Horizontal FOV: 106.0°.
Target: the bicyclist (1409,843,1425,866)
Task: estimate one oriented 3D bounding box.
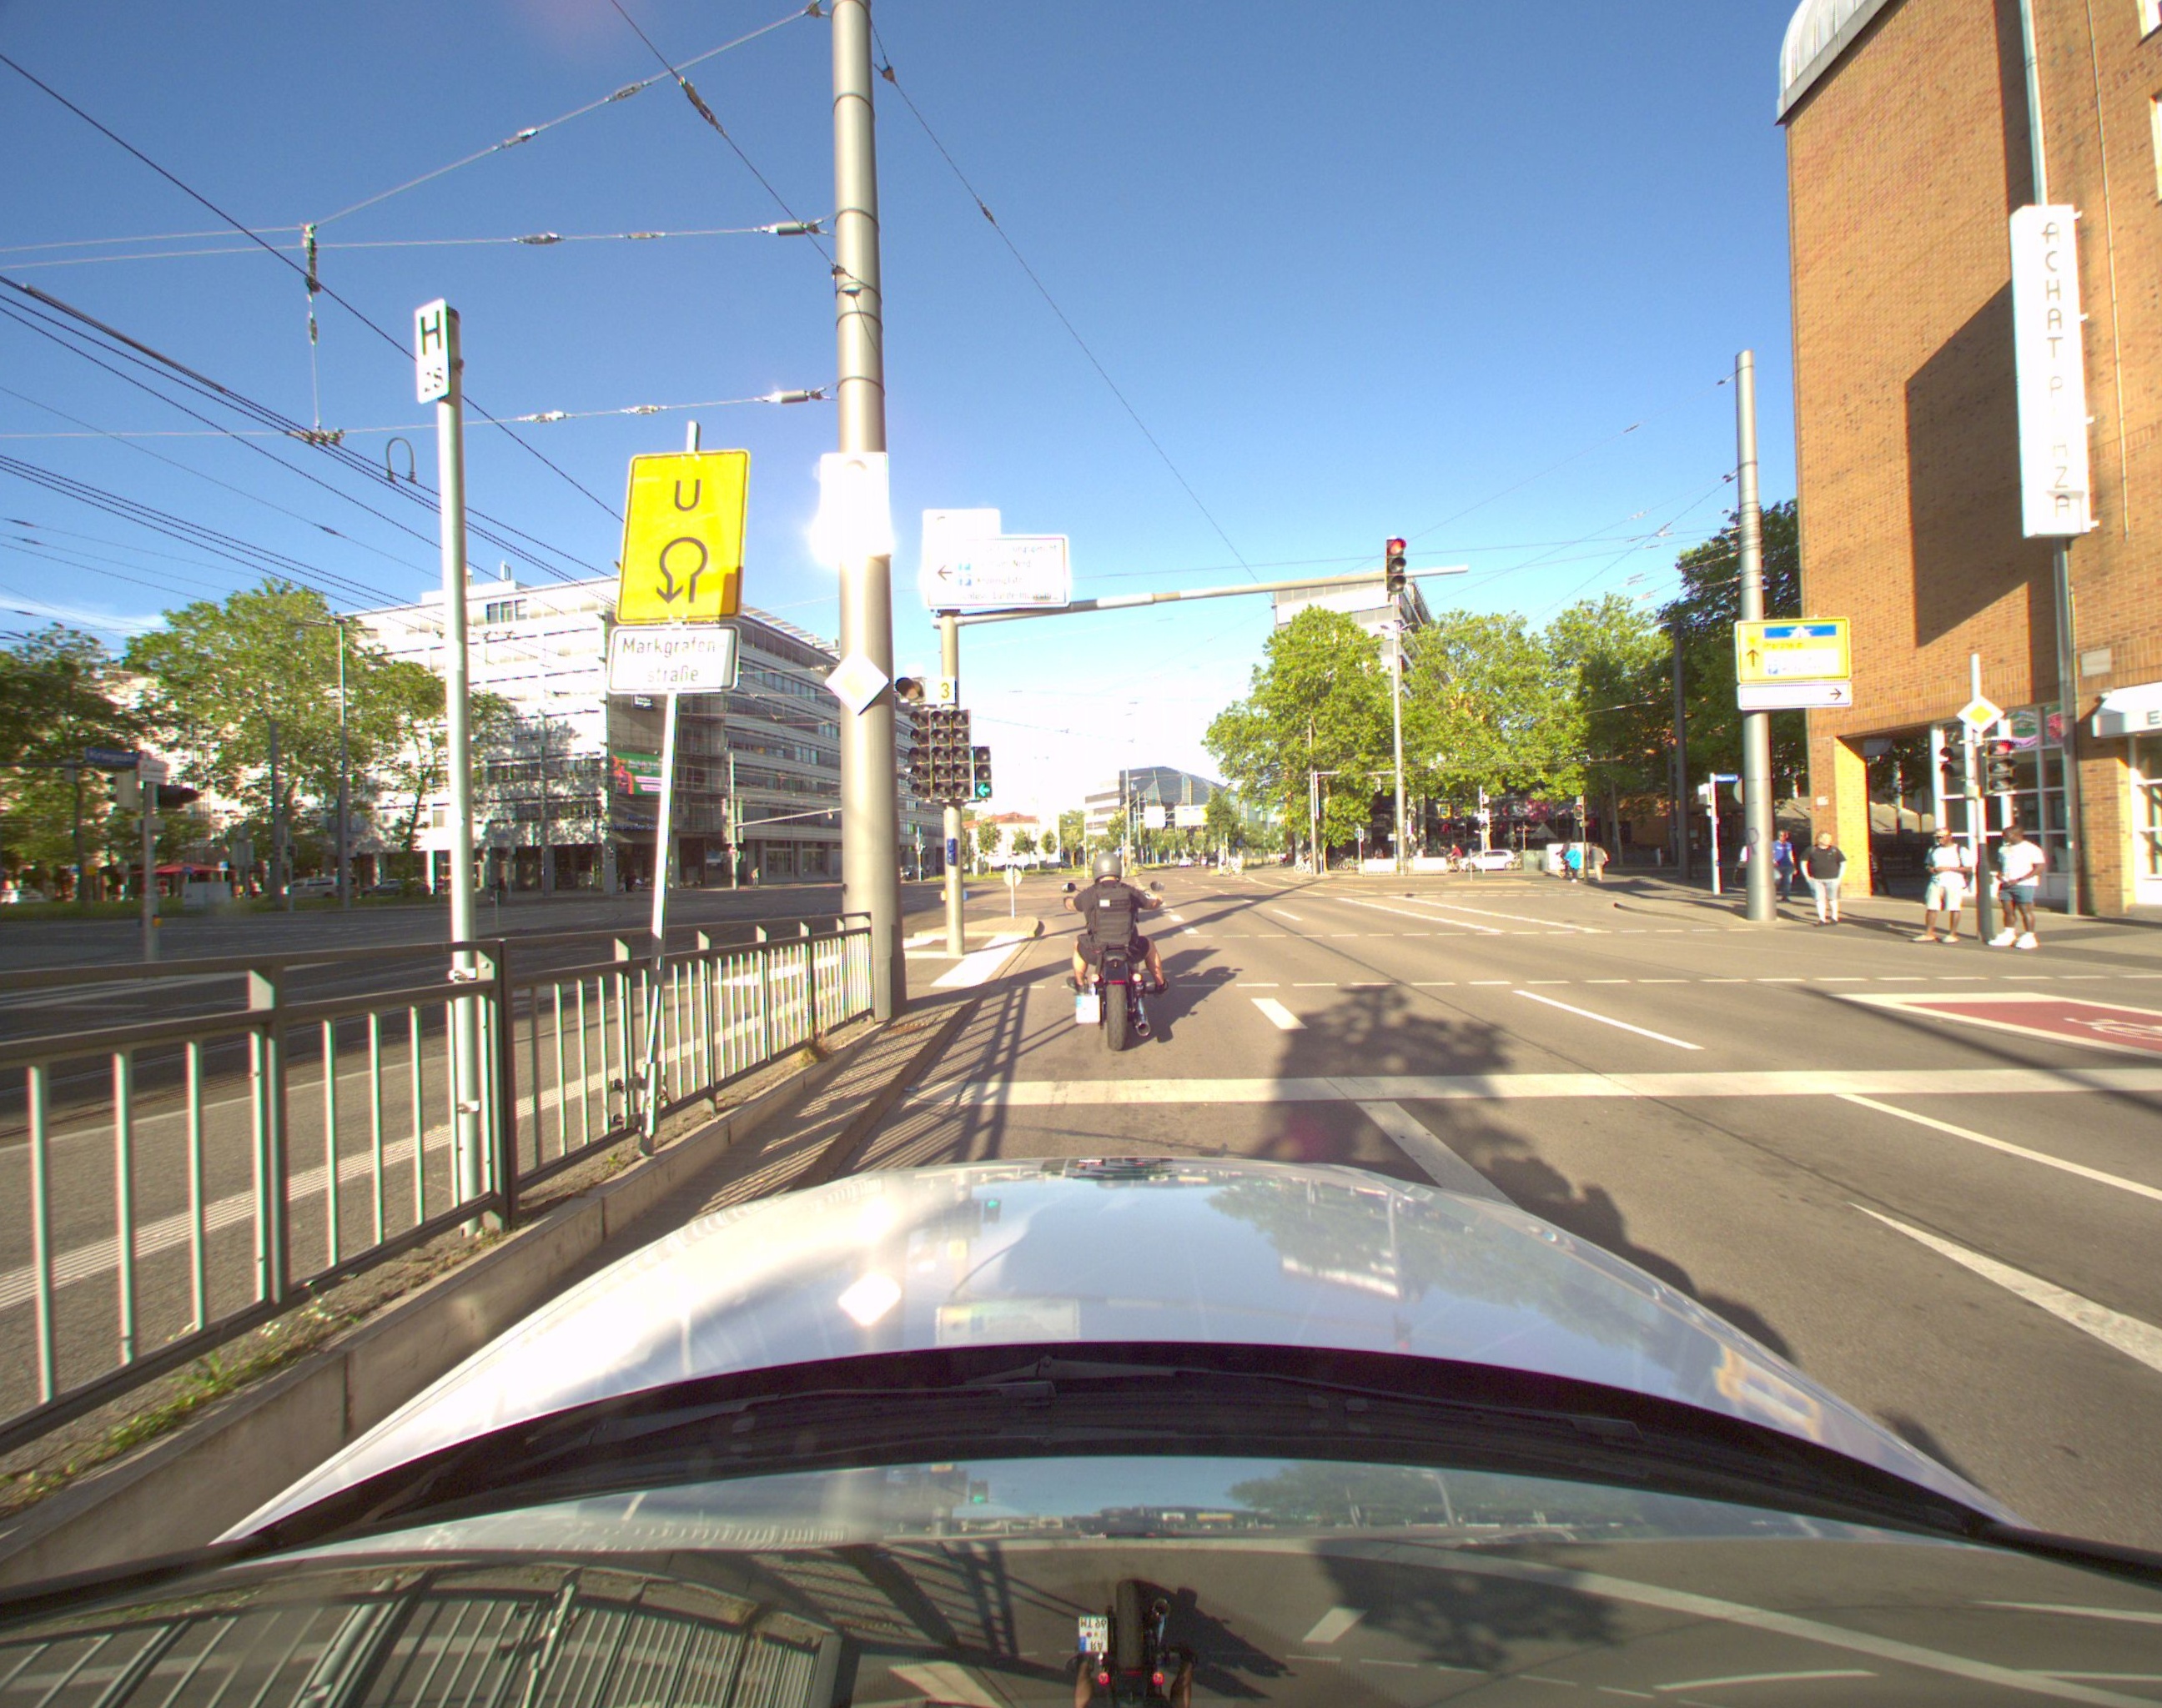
[{"bbox_3d":[29.321,0.054,71.150,1.216,1.931,0.839,-2,-1,19],"label":"bicyclist"}]

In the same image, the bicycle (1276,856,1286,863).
[{"bbox_3d":[34.139,0.927,138.947,1.030,1.133,3.198,-2,0,24],"label":"bicycle"}]

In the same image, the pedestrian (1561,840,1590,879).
[{"bbox_3d":[19.854,0.238,32.684,0.674,1.540,0.741,0,-1,-6],"label":"pedestrian"}]

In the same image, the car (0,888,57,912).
[{"bbox_3d":[-79.810,3.485,61.125,3.835,1.638,1.869,-2,0,6],"label":"car"}]

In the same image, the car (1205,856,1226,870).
[{"bbox_3d":[18.248,1.248,110.634,2.036,1.874,4.247,-1,-1,19],"label":"car"}]

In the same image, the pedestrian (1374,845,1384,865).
[{"bbox_3d":[27.551,0.116,75.296,0.840,1.852,0.813,1,0,16],"label":"pedestrian"}]

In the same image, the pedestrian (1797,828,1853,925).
[{"bbox_3d":[13.995,0.402,15.326,0.577,1.767,0.687,-1,0,-39],"label":"pedestrian"}]

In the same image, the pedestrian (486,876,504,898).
[{"bbox_3d":[-43.752,2.446,60.772,0.831,1.611,0.607,-1,2,3],"label":"pedestrian"}]

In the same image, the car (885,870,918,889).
[{"bbox_3d":[-15.816,2.190,71.848,1.784,1.466,4.313,-2,0,2],"label":"car"}]

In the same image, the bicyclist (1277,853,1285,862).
[{"bbox_3d":[34.109,0.609,138.629,1.030,1.381,1.573,-2,-1,24],"label":"bicyclist"}]

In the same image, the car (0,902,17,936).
[{"bbox_3d":[-44.811,2.621,32.059,3.599,1.328,1.655,0,-1,-1],"label":"car"}]

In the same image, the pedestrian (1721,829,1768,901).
[{"bbox_3d":[15.896,0.258,19.518,0.559,1.704,0.659,0,-1,3],"label":"pedestrian"}]

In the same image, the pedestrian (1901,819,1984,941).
[{"bbox_3d":[13.512,0.401,12.780,0.500,1.833,0.725,-3,-1,-33],"label":"pedestrian"}]

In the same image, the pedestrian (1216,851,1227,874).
[{"bbox_3d":[11.683,0.717,67.673,0.693,1.837,0.518,-1,-1,37],"label":"pedestrian"}]

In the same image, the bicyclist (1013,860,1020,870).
[{"bbox_3d":[-10.412,1.757,131.659,0.759,1.667,0.997,-1,0,11],"label":"bicyclist"}]

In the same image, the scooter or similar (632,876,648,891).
[{"bbox_3d":[-35.043,2.363,64.727,1.021,1.129,0.545,-1,-1,-27],"label":"scooter or similar"}]

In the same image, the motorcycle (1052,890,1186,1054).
[{"bbox_3d":[0.323,0.941,7.285,1.002,1.125,2.324,0,0,2],"label":"motorcycle"}]

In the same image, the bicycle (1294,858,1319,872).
[{"bbox_3d":[17.560,0.828,63.456,1.840,1.021,0.518,-2,-1,13],"label":"bicycle"}]

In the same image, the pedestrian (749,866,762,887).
[{"bbox_3d":[-28.830,1.997,72.137,0.671,1.823,0.887,-3,-1,6],"label":"pedestrian"}]

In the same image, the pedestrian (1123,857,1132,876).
[{"bbox_3d":[3.853,1.016,67.477,0.654,1.582,0.490,-1,0,5],"label":"pedestrian"}]

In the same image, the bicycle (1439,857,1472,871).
[{"bbox_3d":[25.124,0.654,54.642,1.844,0.910,0.653,-2,0,6],"label":"bicycle"}]

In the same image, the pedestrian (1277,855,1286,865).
[{"bbox_3d":[21.844,0.625,88.803,0.777,1.057,0.819,-2,0,24],"label":"pedestrian"}]

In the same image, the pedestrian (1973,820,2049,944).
[{"bbox_3d":[13.736,0.410,12.043,0.401,1.774,0.581,-4,-1,14],"label":"pedestrian"}]

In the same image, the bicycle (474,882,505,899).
[{"bbox_3d":[-43.798,2.698,60.333,1.834,1.163,0.613,-1,3,3],"label":"bicycle"}]

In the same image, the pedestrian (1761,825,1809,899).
[{"bbox_3d":[16.639,0.192,19.270,0.599,1.727,0.603,0,-1,6],"label":"pedestrian"}]

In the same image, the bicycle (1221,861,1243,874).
[{"bbox_3d":[12.167,1.081,65.581,1.612,1.021,0.519,-2,-1,25],"label":"bicycle"}]

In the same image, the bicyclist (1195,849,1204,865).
[{"bbox_3d":[19.424,0.538,133.314,1.008,2.624,1.479,-2,0,19],"label":"bicyclist"}]

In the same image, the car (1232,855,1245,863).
[{"bbox_3d":[31.459,0.968,163.088,1.705,1.484,3.775,-2,0,24],"label":"car"}]

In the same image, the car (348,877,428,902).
[{"bbox_3d":[-50.749,2.611,59.713,4.378,1.572,1.869,-2,2,6],"label":"car"}]

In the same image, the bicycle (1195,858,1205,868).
[{"bbox_3d":[19.493,1.429,133.322,1.008,1.579,3.592,-2,0,19],"label":"bicycle"}]

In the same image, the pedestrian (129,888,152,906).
[{"bbox_3d":[-82.007,3.751,71.017,0.985,1.546,0.875,-2,-1,9],"label":"pedestrian"}]

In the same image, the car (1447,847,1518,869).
[{"bbox_3d":[27.762,0.264,56.413,3.967,1.486,2.003,0,-1,6],"label":"car"}]

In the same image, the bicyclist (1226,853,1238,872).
[{"bbox_3d":[12.175,0.675,65.576,0.736,1.503,0.573,-2,-1,25],"label":"bicyclist"}]

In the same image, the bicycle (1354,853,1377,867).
[{"bbox_3d":[22.224,0.475,63.650,1.692,0.986,0.392,-2,0,15],"label":"bicycle"}]

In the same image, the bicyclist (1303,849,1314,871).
[{"bbox_3d":[17.679,0.474,63.424,0.737,1.694,0.572,-2,-1,13],"label":"bicyclist"}]

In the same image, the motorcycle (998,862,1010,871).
[{"bbox_3d":[-11.605,1.920,122.753,0.977,1.232,2.953,-2,-1,13],"label":"motorcycle"}]

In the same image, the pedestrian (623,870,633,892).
[{"bbox_3d":[-35.782,2.142,64.341,0.640,1.708,0.576,-1,-1,-28],"label":"pedestrian"}]

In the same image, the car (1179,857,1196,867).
[{"bbox_3d":[16.282,1.206,124.252,1.886,1.508,4.018,-1,-1,17],"label":"car"}]

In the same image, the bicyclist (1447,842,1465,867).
[{"bbox_3d":[25.142,0.033,54.648,0.921,1.615,0.638,-2,-1,5],"label":"bicyclist"}]

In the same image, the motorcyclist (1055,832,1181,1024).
[{"bbox_3d":[0.320,0.601,7.257,1.018,1.552,1.287,0,0,1],"label":"motorcyclist"}]

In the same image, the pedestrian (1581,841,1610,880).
[{"bbox_3d":[20.787,0.260,32.924,0.649,1.540,0.741,0,-1,-6],"label":"pedestrian"}]

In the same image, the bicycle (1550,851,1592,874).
[{"bbox_3d":[22.412,0.395,37.270,0.786,1.052,1.924,0,-1,2],"label":"bicycle"}]

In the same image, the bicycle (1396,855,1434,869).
[{"bbox_3d":[29.201,0.714,71.179,3.016,1.113,0.839,-2,0,19],"label":"bicycle"}]

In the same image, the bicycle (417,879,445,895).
[{"bbox_3d":[-51.270,2.603,64.286,0.466,1.151,1.843,-1,1,9],"label":"bicycle"}]

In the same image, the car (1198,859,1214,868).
[{"bbox_3d":[21.579,1.578,140.287,1.999,1.376,4.058,-2,0,19],"label":"car"}]

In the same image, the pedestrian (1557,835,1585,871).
[{"bbox_3d":[22.425,-0.041,37.299,0.767,1.594,0.838,0,-1,1],"label":"pedestrian"}]

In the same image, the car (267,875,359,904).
[{"bbox_3d":[-56.343,2.620,59.780,4.888,1.843,1.930,-2,2,3],"label":"car"}]

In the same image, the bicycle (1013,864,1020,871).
[{"bbox_3d":[-10.405,2.167,131.679,0.638,1.107,1.691,-1,0,12],"label":"bicycle"}]
